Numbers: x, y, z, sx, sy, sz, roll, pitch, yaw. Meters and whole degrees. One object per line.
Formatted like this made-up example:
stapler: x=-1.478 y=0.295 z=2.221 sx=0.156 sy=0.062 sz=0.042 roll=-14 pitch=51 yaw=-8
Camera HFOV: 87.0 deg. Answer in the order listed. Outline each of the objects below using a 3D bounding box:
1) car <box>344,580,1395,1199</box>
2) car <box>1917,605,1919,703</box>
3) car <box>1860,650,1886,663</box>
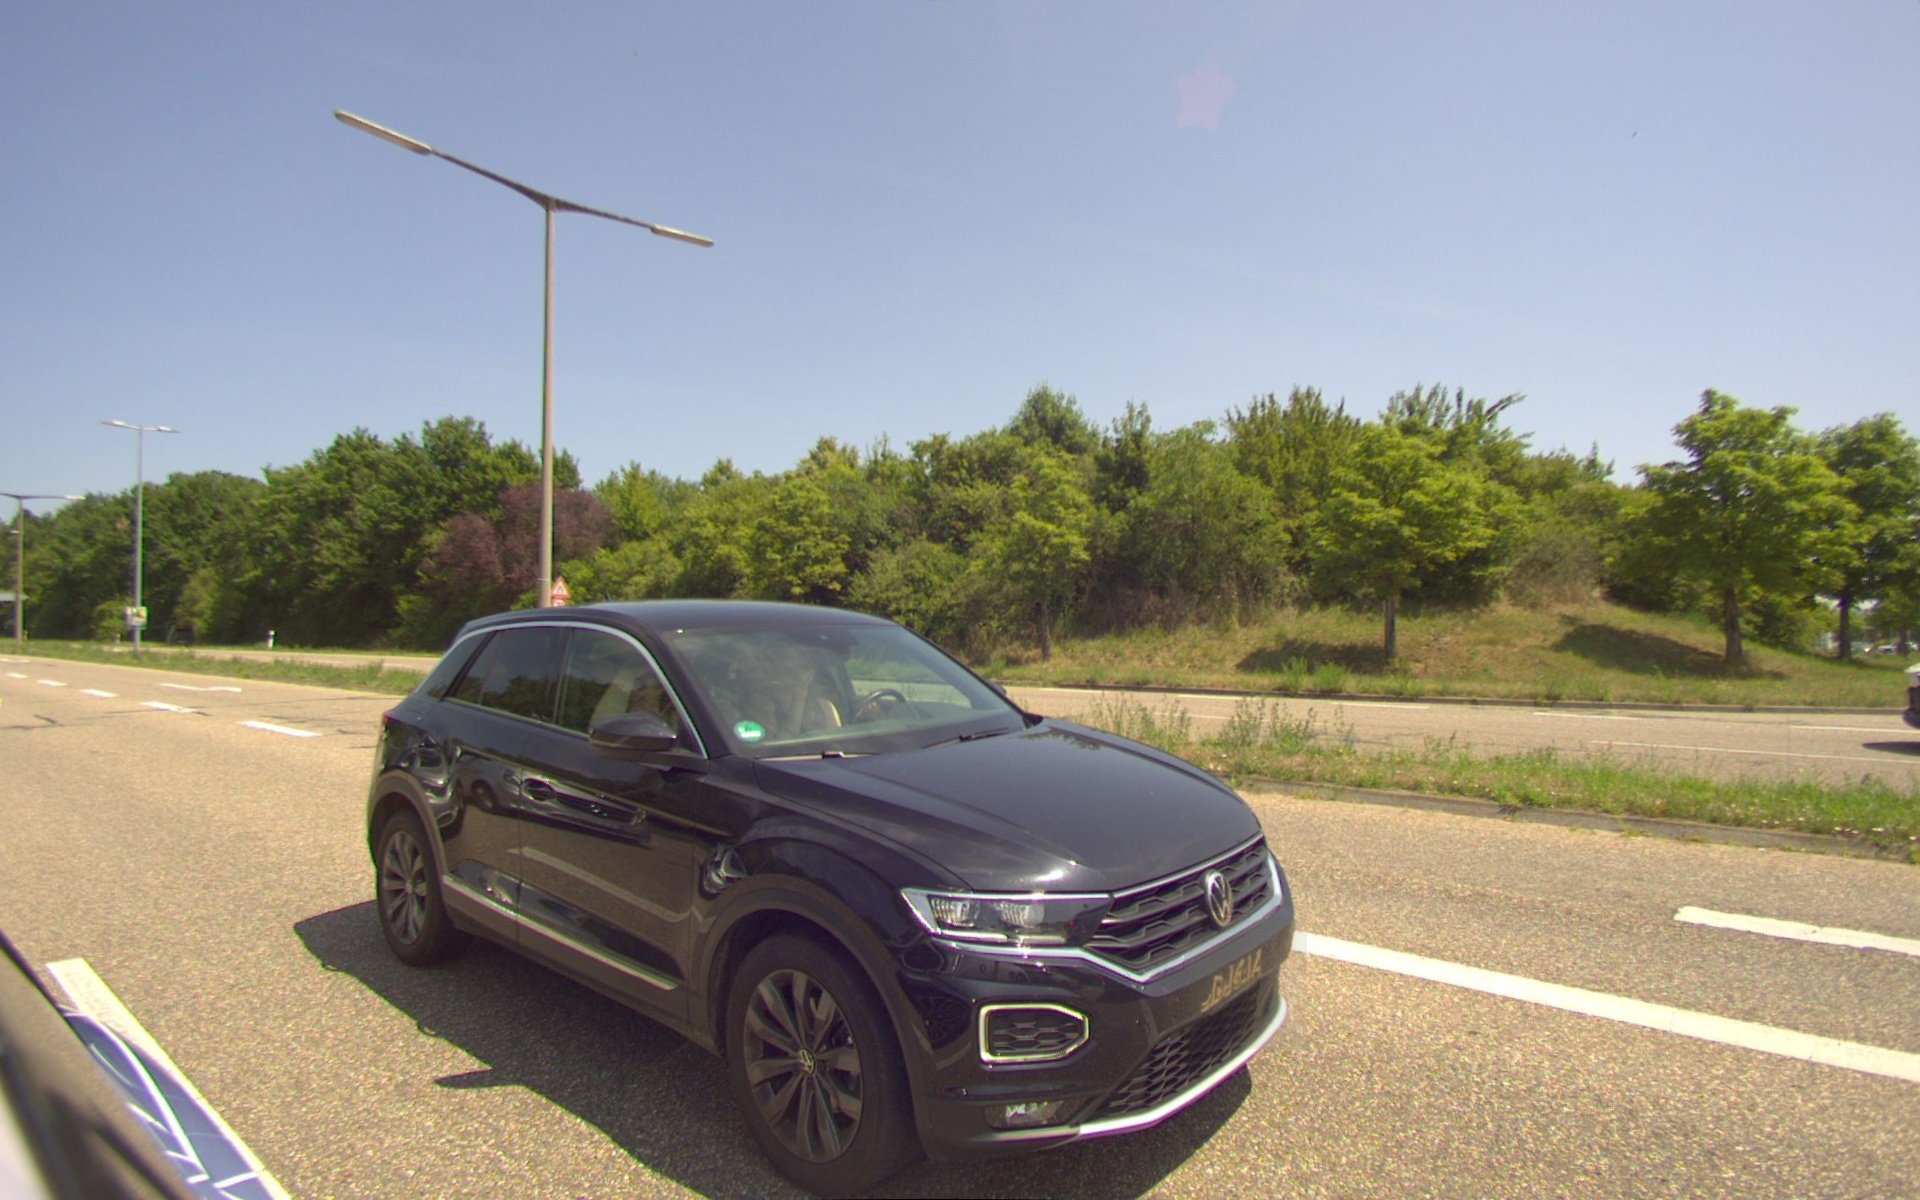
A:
car: x=-0.685 y=0.732 z=3.844 sx=3.968 sy=1.523 sz=1.716 roll=-1 pitch=0 yaw=41
car: x=11.729 y=0.738 z=9.276 sx=4.166 sy=1.467 sz=1.804 roll=-2 pitch=-2 yaw=41
car: x=102.481 y=6.309 z=113.631 sx=1.630 sy=1.371 sz=3.952 roll=-2 pitch=-2 yaw=36
